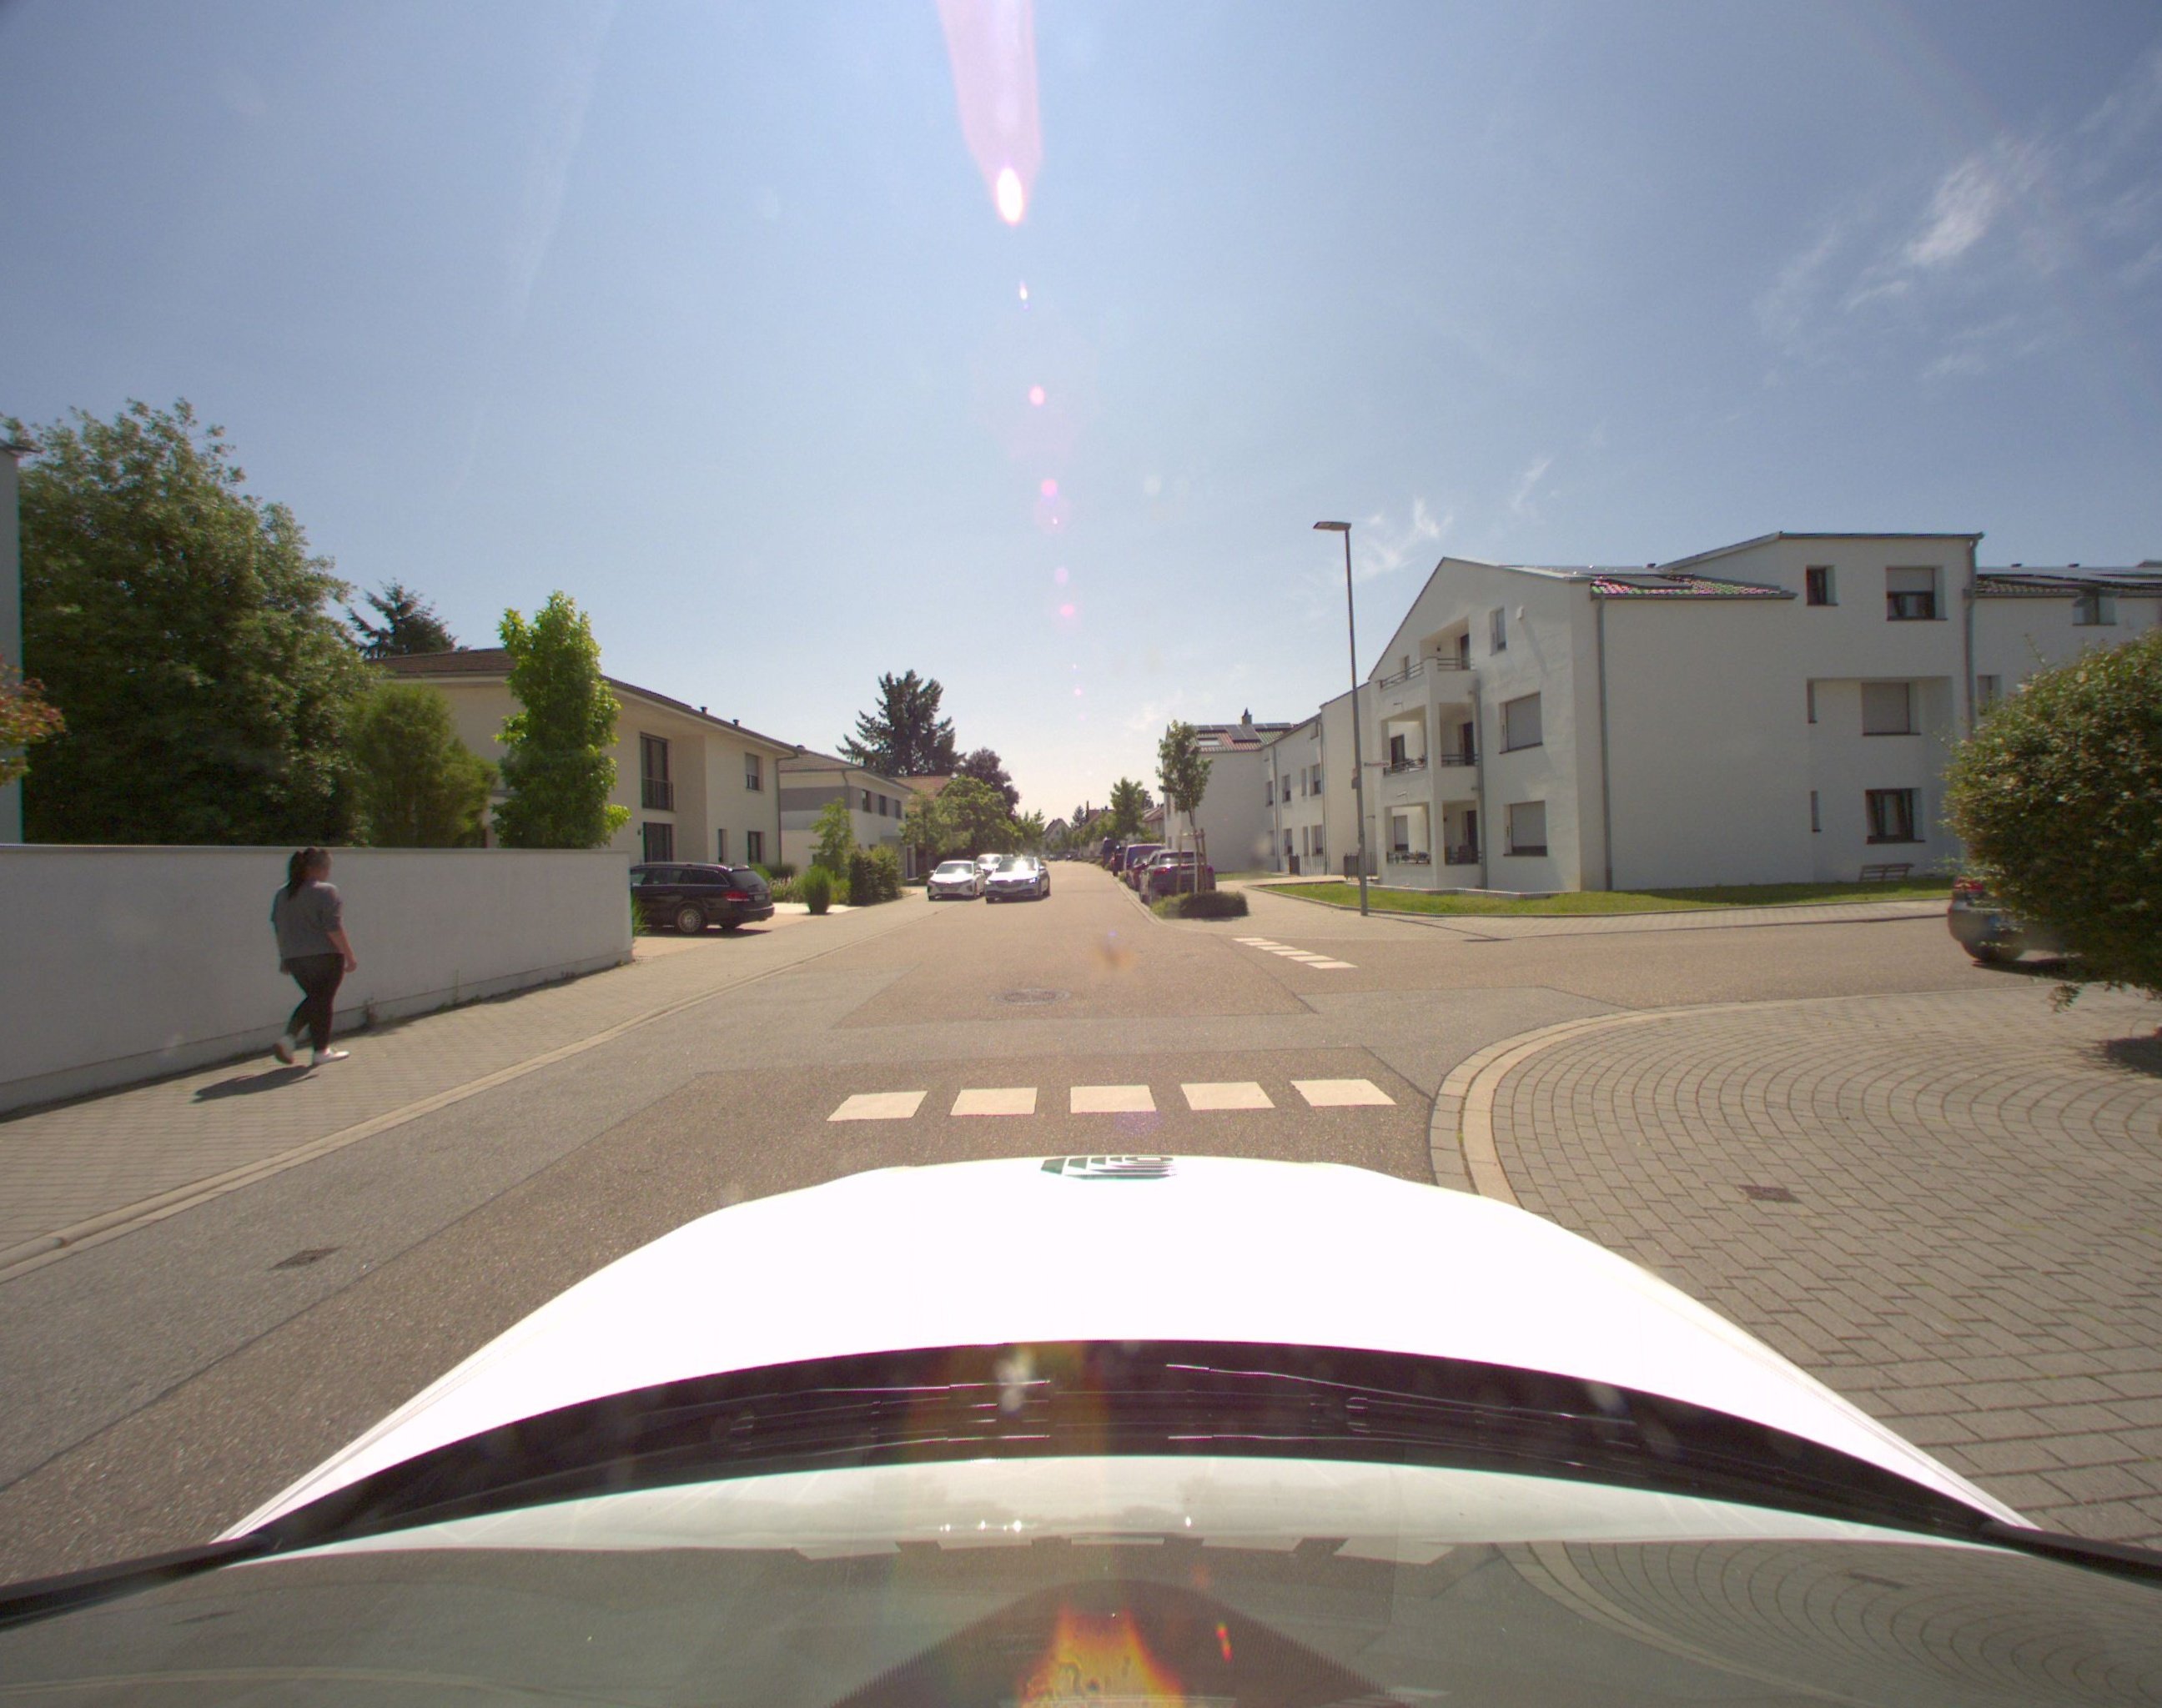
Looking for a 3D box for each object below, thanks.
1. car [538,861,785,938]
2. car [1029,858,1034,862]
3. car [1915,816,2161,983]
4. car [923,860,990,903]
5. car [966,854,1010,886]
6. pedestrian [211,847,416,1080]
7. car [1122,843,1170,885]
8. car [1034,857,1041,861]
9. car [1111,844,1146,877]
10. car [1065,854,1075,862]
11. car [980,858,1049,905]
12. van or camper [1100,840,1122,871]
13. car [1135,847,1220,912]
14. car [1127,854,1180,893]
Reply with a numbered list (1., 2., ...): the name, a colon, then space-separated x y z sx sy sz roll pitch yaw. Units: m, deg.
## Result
1. car: -9.039 0.935 17.776 4.408 1.473 1.853 1 0 4
2. car: -14.791 1.843 242.798 1.188 1.070 3.044 -3 0 -9
3. car: 11.278 0.342 8.342 3.987 1.467 1.752 -2 0 -7
4. car: -4.810 1.008 32.024 1.845 1.488 4.386 -2 0 1
5. car: -5.280 0.876 46.876 1.920 1.687 4.499 -2 0 1
6. pedestrian: -6.240 0.834 6.682 0.712 1.747 0.961 -2 0 1
7. car: 3.134 0.464 40.163 2.091 1.882 4.844 -2 0 2
8. car: -12.568 1.422 234.046 1.662 1.250 3.920 -2 0 -8
9. car: 3.109 0.419 54.469 1.987 1.947 5.215 -3 0 1
10. car: -2.252 0.857 173.465 1.987 1.574 4.000 -2 0 1
11. car: -2.298 0.916 29.320 1.845 1.478 4.703 -2 0 2
12. van or camper: 2.916 0.128 79.301 1.987 2.941 4.000 -2 0 0
13. car: 2.678 0.667 23.500 1.768 1.595 4.276 -4 0 -2
14. car: 2.923 0.759 33.570 1.675 1.441 4.024 -2 0 -2
